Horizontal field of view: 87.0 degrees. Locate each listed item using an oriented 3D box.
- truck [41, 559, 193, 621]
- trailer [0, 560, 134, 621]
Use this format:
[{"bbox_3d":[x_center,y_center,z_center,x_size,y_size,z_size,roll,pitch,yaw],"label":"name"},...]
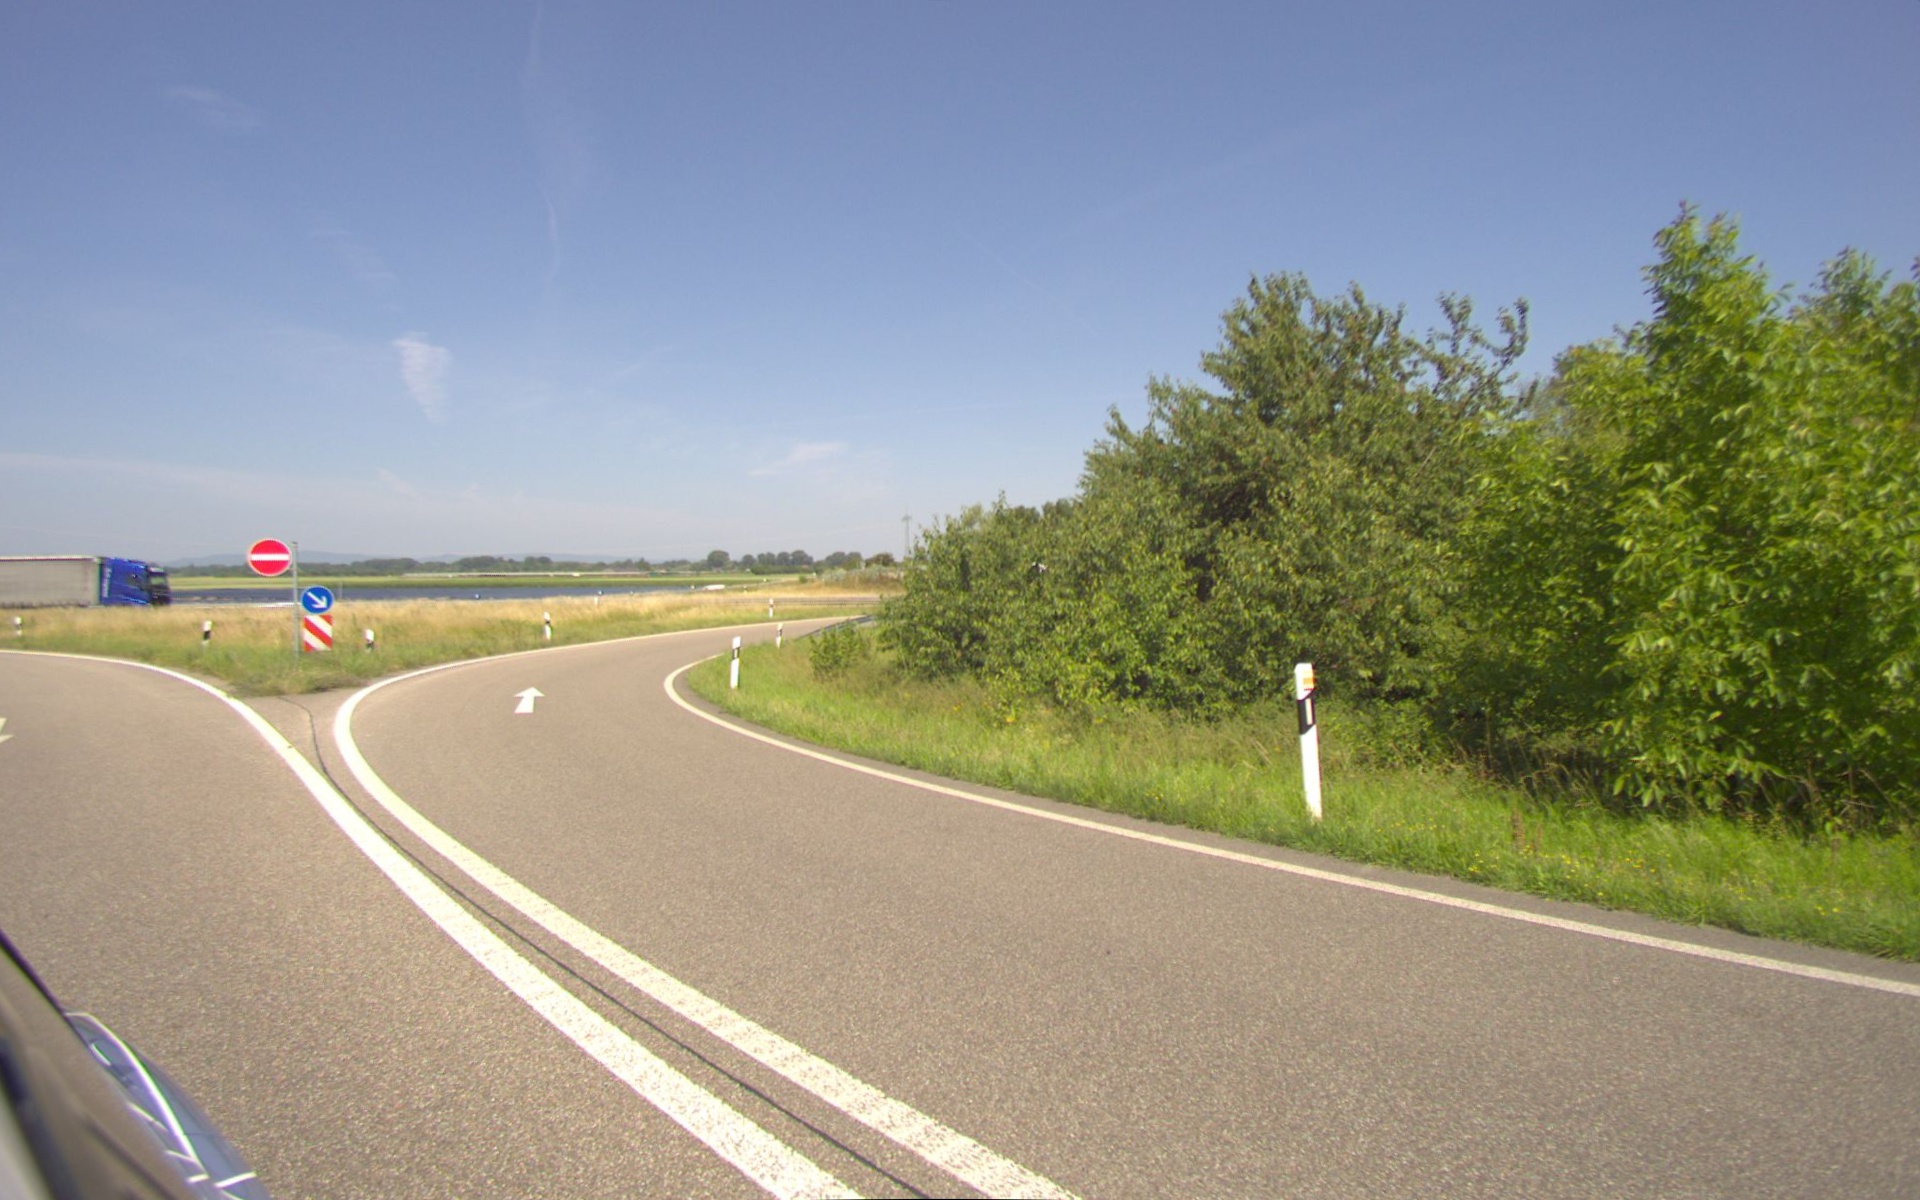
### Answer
[{"bbox_3d":[-52.034,-0.622,62.642,6.522,3.693,3.122,0,0,-10],"label":"truck"},{"bbox_3d":[-58.808,-0.551,61.494,13.580,3.671,3.110,0,0,-10],"label":"trailer"}]
